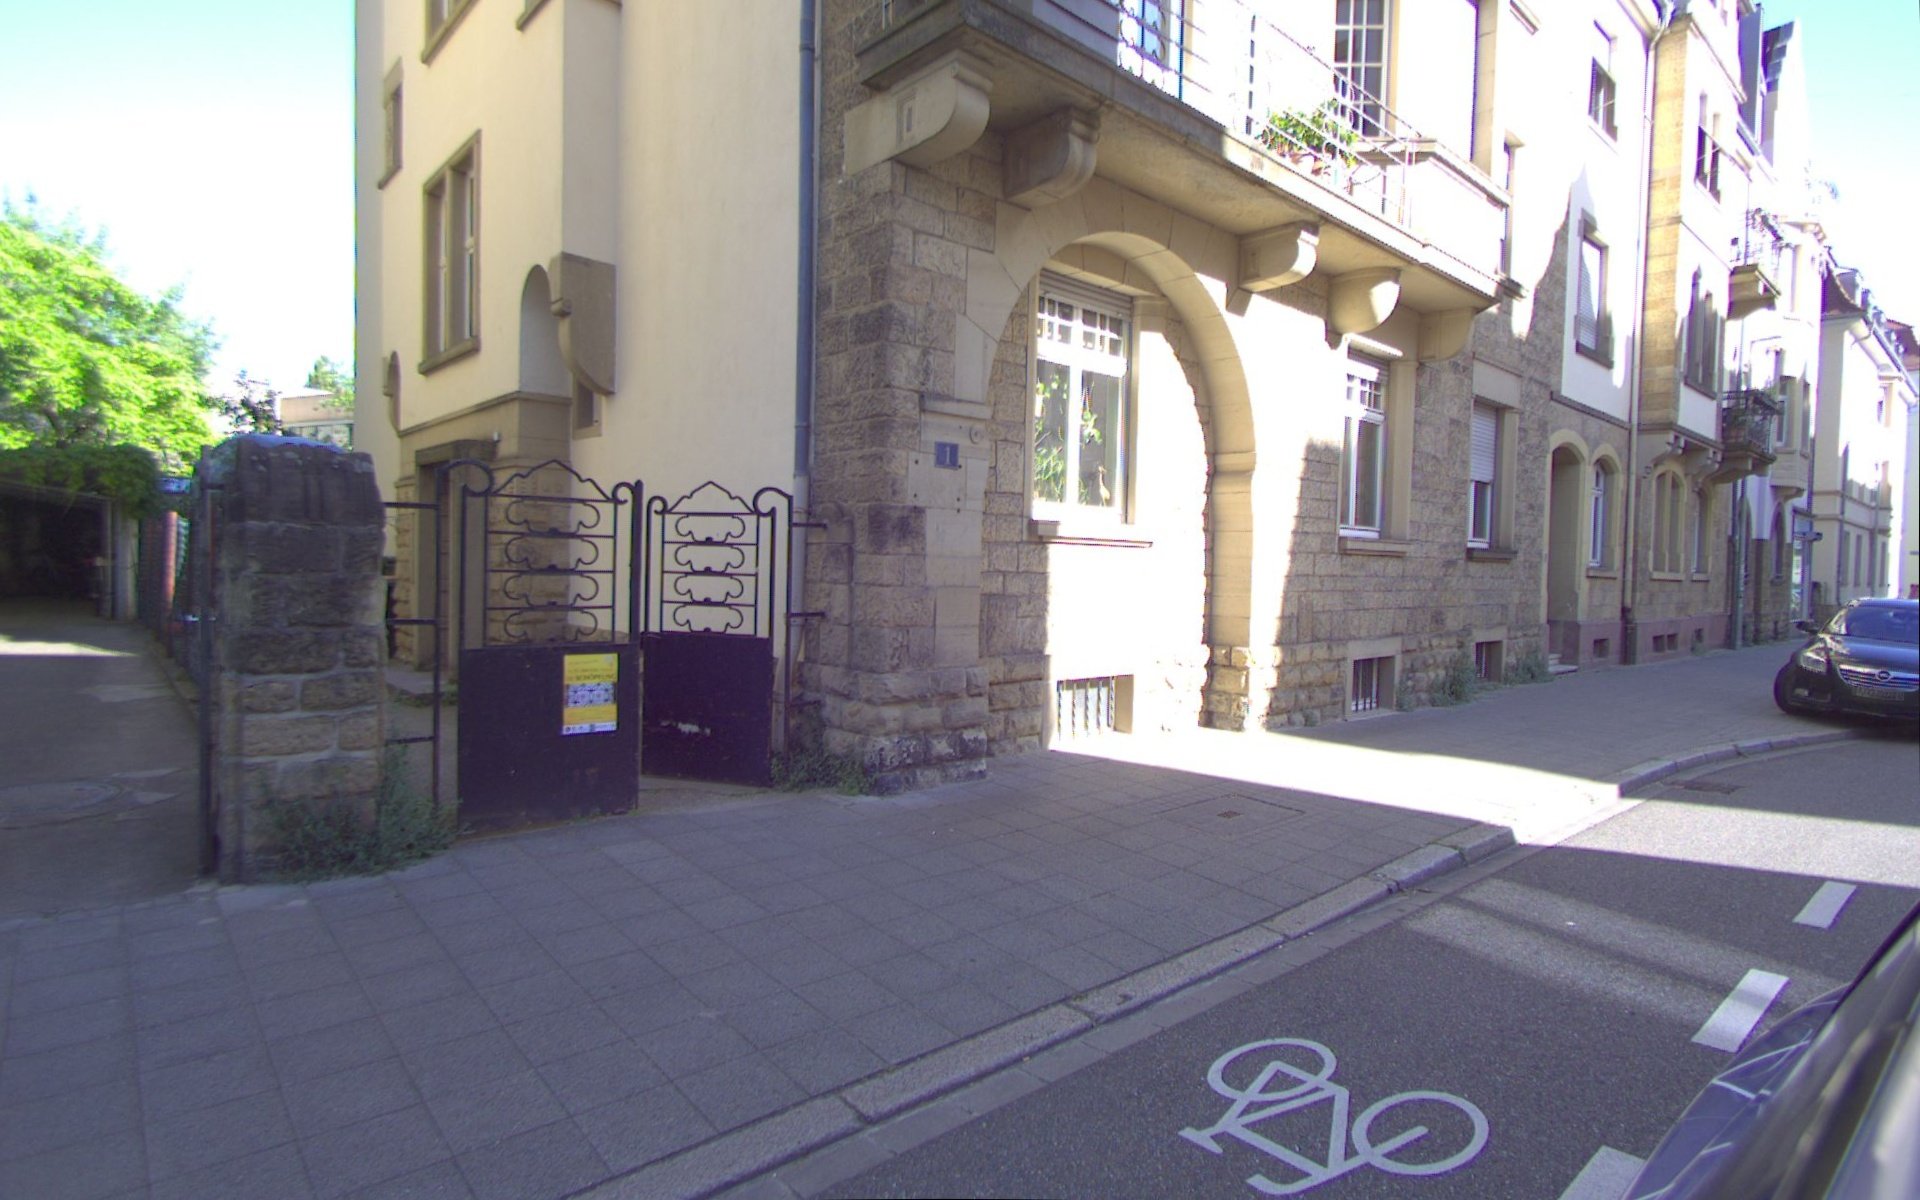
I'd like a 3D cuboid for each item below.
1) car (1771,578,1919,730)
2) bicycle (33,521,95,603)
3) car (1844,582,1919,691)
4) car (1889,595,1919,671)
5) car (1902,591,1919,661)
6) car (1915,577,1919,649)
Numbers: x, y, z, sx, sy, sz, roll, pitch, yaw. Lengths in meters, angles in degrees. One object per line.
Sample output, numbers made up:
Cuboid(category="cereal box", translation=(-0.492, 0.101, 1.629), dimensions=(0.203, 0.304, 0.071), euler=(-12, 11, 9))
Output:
Cuboid(category="car", translation=(11.500, 0.568, 12.180), dimensions=(4.043, 1.526, 2.023), euler=(-1, 5, -42))
Cuboid(category="bicycle", translation=(-18.307, -0.810, 20.719), dimensions=(0.903, 1.530, 2.672), euler=(0, 4, -41))
Cuboid(category="car", translation=(15.526, 0.564, 15.860), dimensions=(4.247, 1.527, 2.004), euler=(0, 3, -42))
Cuboid(category="car", translation=(18.789, 0.617, 18.965), dimensions=(3.667, 1.295, 1.659), euler=(-1, 4, -42))
Cuboid(category="car", translation=(22.166, 0.580, 22.186), dimensions=(4.247, 1.440, 1.823), euler=(-1, 4, -42))
Cuboid(category="car", translation=(26.229, 0.335, 26.043), dimensions=(4.247, 1.860, 2.004), euler=(-1, 4, -42))
